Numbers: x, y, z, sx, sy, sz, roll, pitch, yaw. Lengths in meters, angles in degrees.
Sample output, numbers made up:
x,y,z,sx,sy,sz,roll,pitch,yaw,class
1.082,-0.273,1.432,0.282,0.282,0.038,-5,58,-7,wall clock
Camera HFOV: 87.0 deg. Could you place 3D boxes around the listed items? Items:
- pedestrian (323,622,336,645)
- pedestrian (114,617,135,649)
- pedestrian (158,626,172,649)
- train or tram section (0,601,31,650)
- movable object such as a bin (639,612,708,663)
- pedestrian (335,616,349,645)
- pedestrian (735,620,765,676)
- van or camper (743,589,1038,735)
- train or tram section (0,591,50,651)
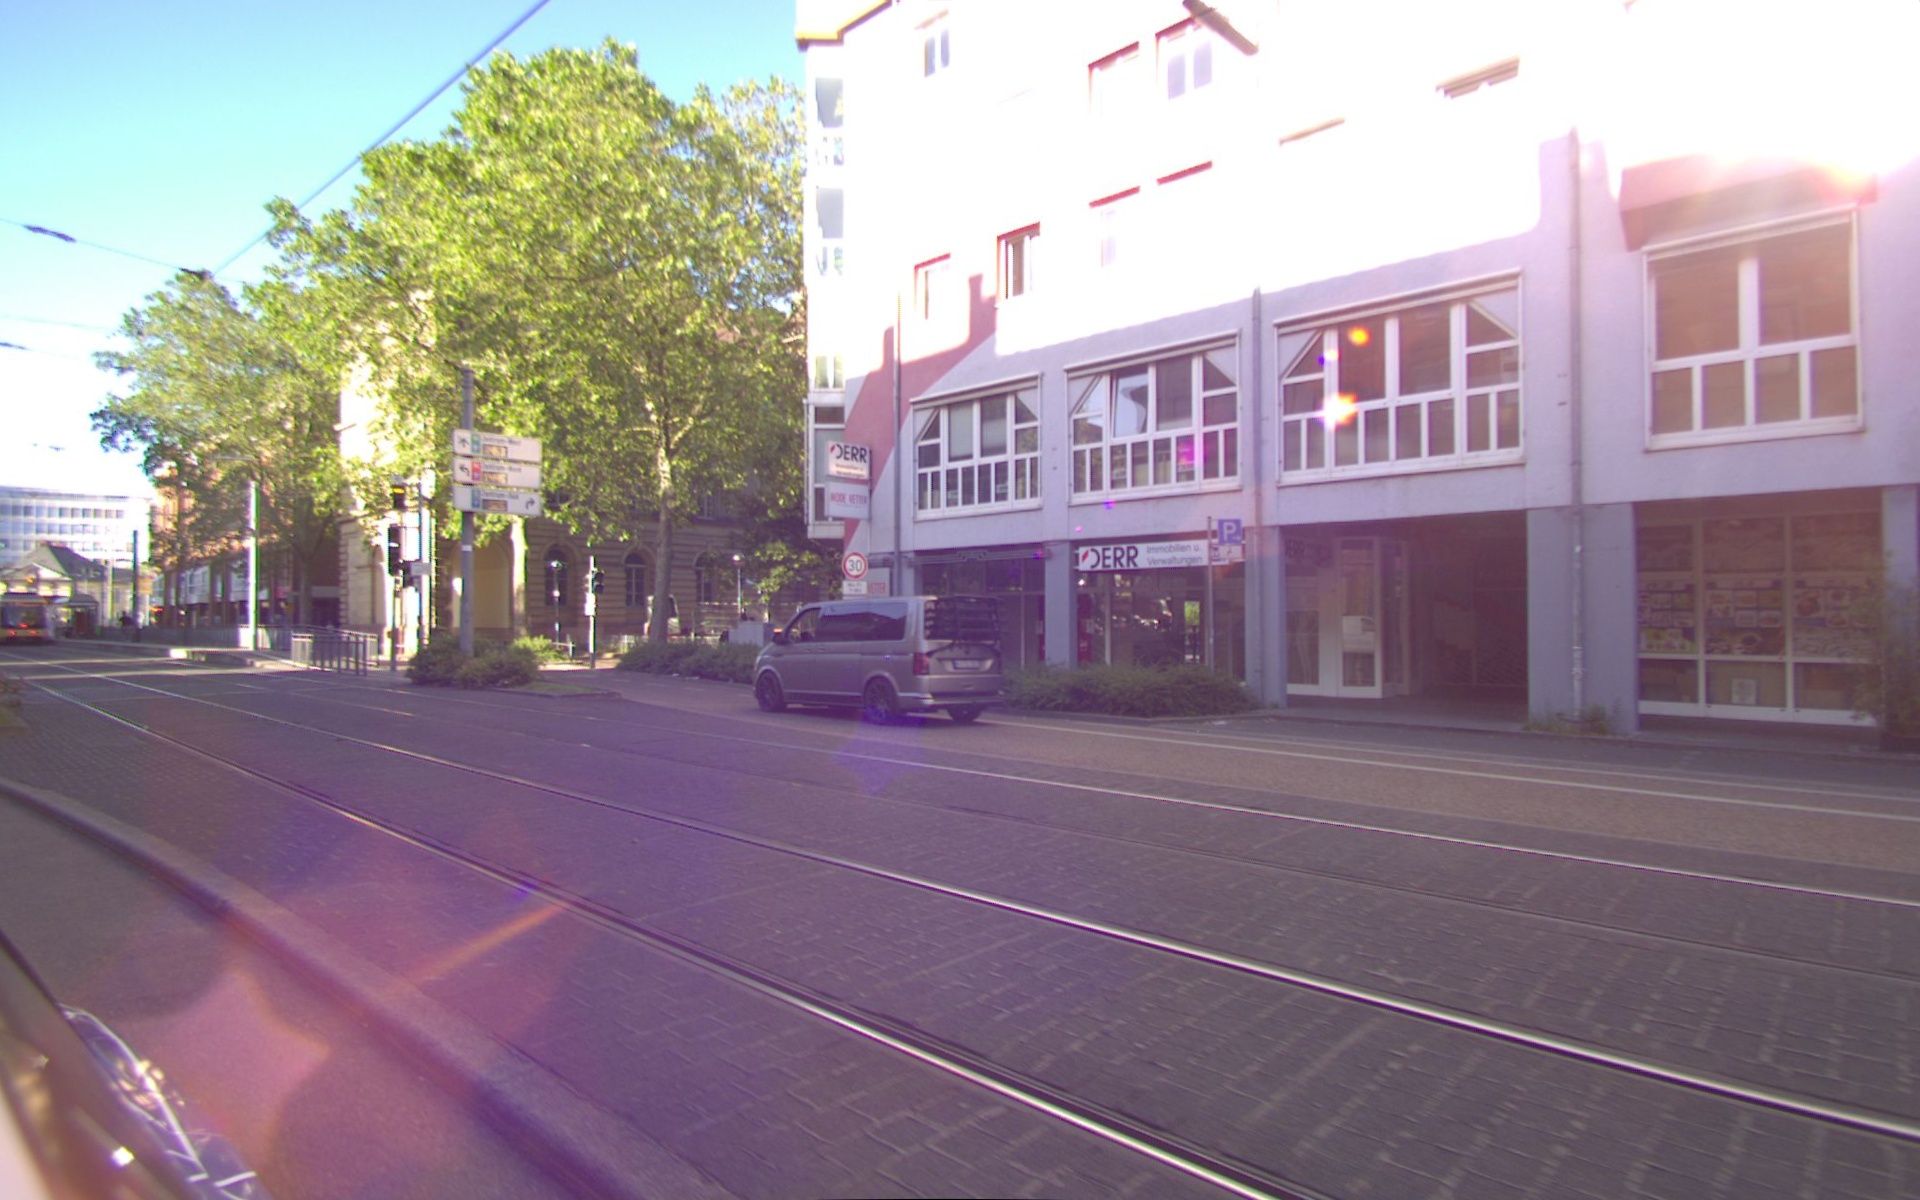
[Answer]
x,y,z,sx,sy,sz,roll,pitch,yaw,class
-41.986,2.212,67.384,0.474,1.541,0.577,-2,-2,44,pedestrian
-44.326,1.761,53.685,1.033,1.680,0.688,-2,-3,44,pedestrian
-67.928,3.202,86.463,0.665,1.931,0.781,-2,-3,41,pedestrian
-76.310,2.101,80.221,13.944,3.672,2.941,-2,-1,43,train or tram section
-11.886,1.538,41.937,2.604,2.029,1.179,0,-2,-24,movable object such as a bin
-41.421,2.046,67.813,0.698,1.896,0.627,1,-3,-43,pedestrian
-6.301,1.443,30.411,0.668,1.649,0.689,-1,-2,10,pedestrian
-1.244,0.941,15.983,1.970,1.955,4.837,5,-5,-44,van or camper
-65.361,1.631,69.606,16.488,3.672,2.941,-3,-1,44,train or tram section
